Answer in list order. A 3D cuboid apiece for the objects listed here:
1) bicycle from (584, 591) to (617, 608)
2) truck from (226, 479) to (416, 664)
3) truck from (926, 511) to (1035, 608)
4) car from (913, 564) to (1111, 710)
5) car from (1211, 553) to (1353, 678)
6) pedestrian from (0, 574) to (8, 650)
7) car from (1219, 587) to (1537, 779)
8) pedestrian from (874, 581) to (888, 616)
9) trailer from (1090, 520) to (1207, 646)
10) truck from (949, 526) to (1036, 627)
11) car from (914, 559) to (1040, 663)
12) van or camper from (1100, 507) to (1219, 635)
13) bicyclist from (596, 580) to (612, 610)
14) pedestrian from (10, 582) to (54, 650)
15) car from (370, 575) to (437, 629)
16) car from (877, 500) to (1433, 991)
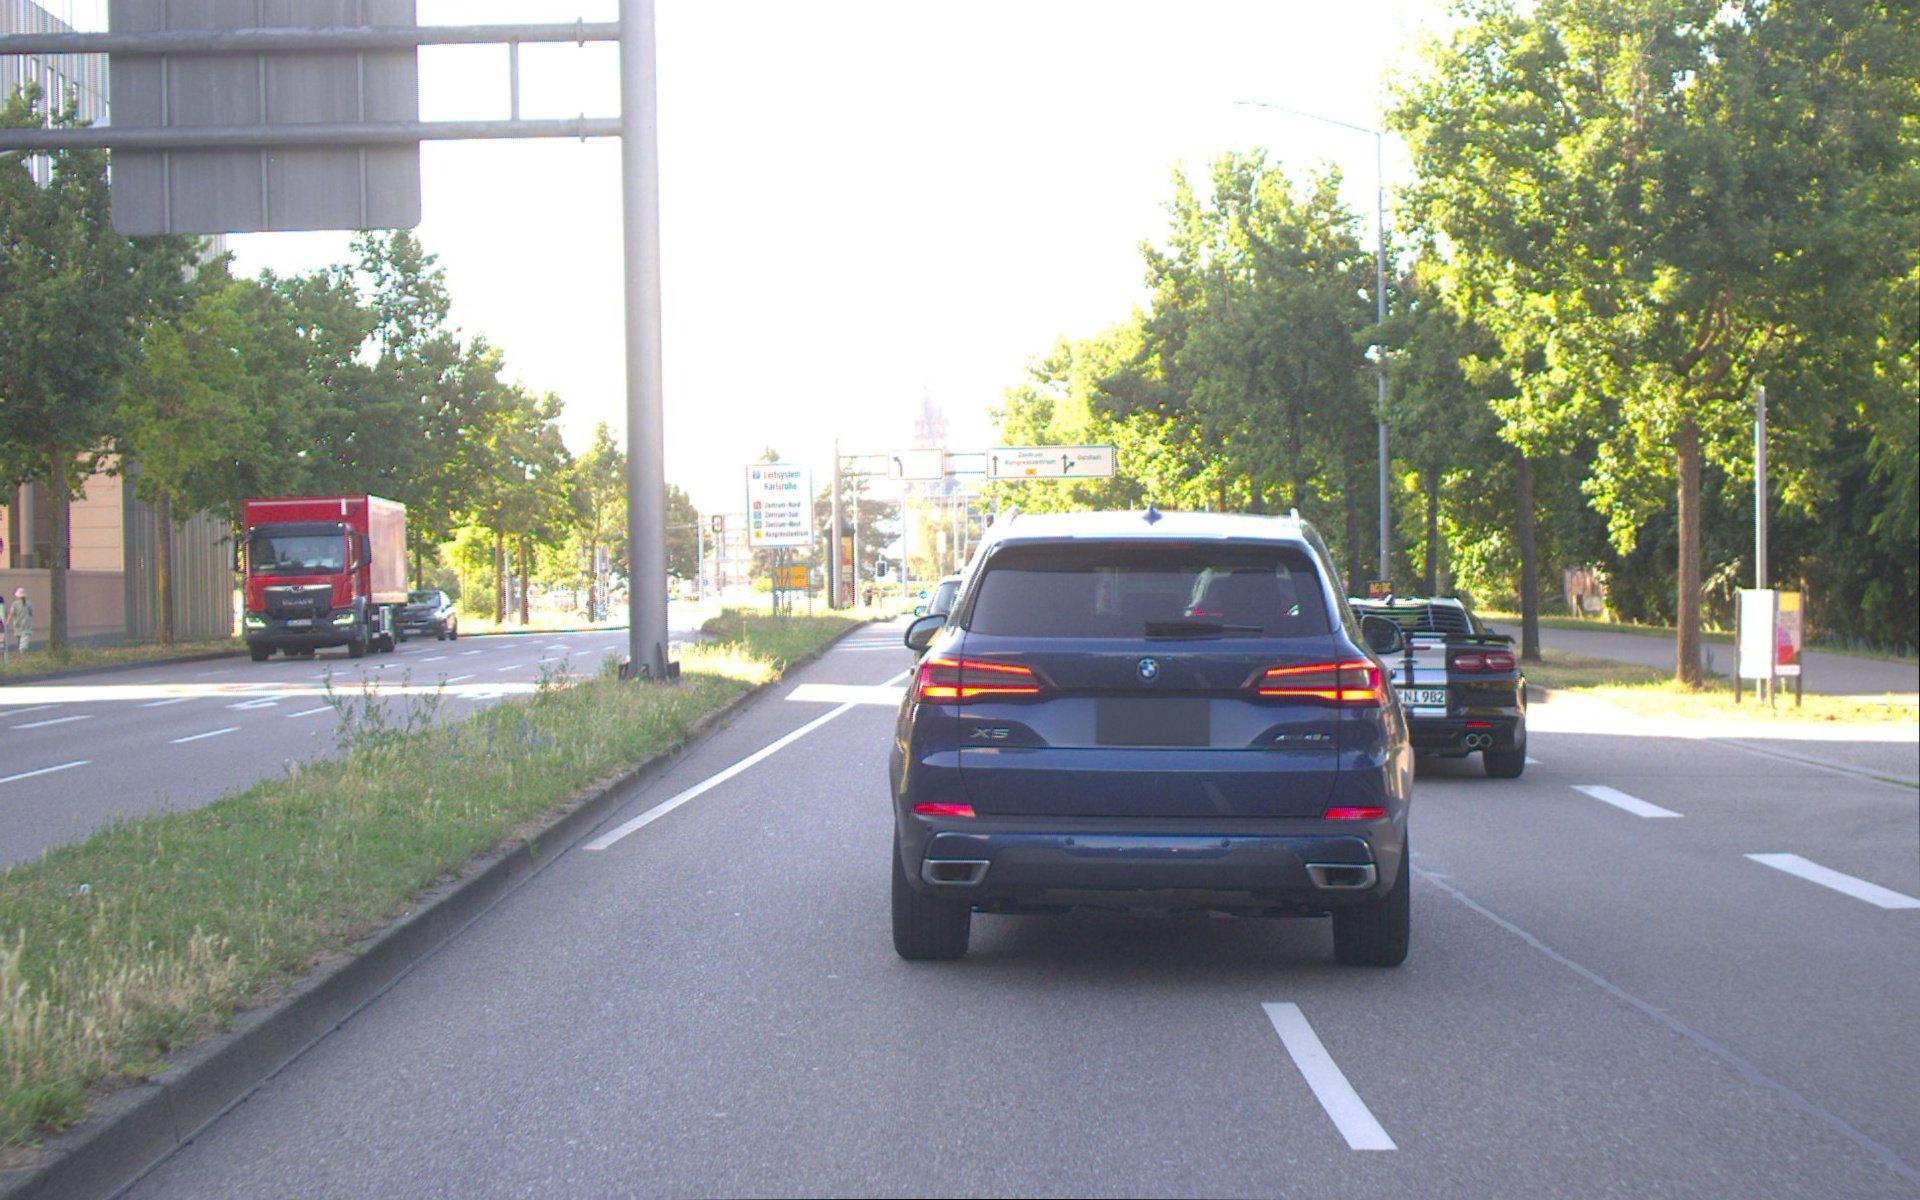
[{"bbox_3d":[-21.308,-0.035,203.920,1.910,1.016,0.504,0,0,15],"label":"bicycle"},{"bbox_3d":[-14.038,-0.643,76.283,2.998,3.798,10.090,-1,1,-4],"label":"truck"},{"bbox_3d":[0.525,-1.095,94.593,2.580,2.549,6.252,-1,0,-3],"label":"truck"},{"bbox_3d":[0.611,0.366,37.122,1.747,1.468,3.819,-1,0,7],"label":"car"},{"bbox_3d":[4.404,0.180,47.419,1.747,1.615,3.819,-1,1,3],"label":"car"},{"bbox_3d":[-23.519,0.288,83.371,0.632,1.835,0.716,-1,0,1],"label":"pedestrian"},{"bbox_3d":[3.132,0.576,26.643,1.854,1.333,4.625,0,0,-1],"label":"car"},{"bbox_3d":[-4.635,-0.082,201.614,0.789,2.007,0.701,-1,0,-6],"label":"pedestrian"},{"bbox_3d":[3.684,-0.333,67.835,2.090,2.392,3.501,1,0,0],"label":"trailer"},{"bbox_3d":[0.914,-0.642,93.762,2.220,2.642,4.773,-1,0,2],"label":"truck"},{"bbox_3d":[0.323,0.180,57.982,1.905,1.654,3.999,-1,0,3],"label":"car"},{"bbox_3d":[4.244,-0.620,73.997,2.284,2.620,6.583,0,0,1],"label":"van or camper"},{"bbox_3d":[-21.131,-0.313,203.878,0.813,1.764,0.496,0,0,15],"label":"bicyclist"},{"bbox_3d":[-22.353,0.382,82.818,0.776,1.596,0.909,-1,0,1],"label":"pedestrian"},{"bbox_3d":[-16.004,0.042,99.030,1.595,1.507,3.868,-1,1,-5],"label":"car"},{"bbox_3d":[0.707,0.519,14.481,1.955,1.721,4.699,0,0,1],"label":"car"}]
